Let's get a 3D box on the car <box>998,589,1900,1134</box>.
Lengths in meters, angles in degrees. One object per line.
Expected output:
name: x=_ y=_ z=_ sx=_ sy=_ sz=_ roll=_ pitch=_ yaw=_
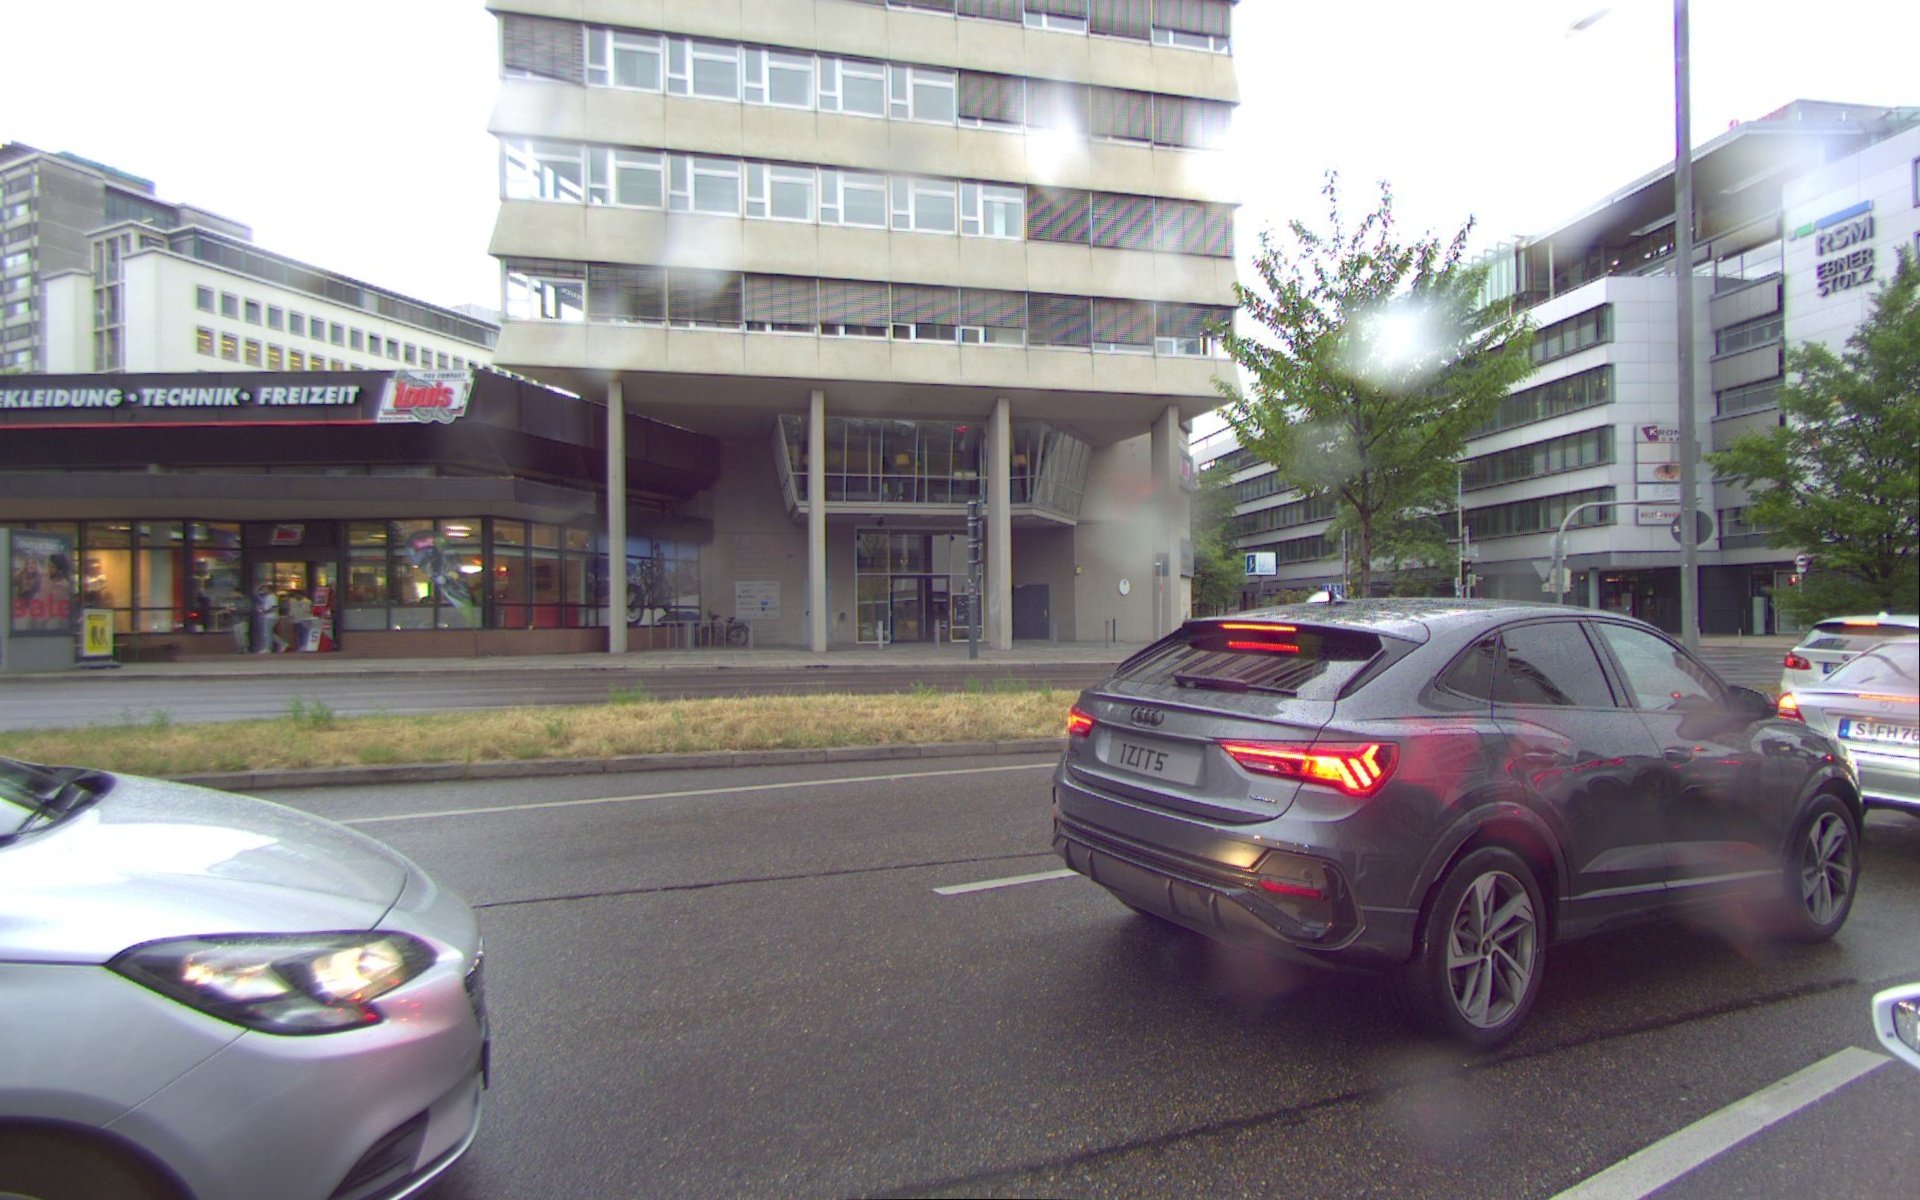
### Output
car: x=2.396 y=0.763 z=4.612 sx=4.220 sy=1.542 sz=1.640 roll=1 pitch=0 yaw=-30

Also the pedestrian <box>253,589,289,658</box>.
pedestrian: x=-18.064 y=0.613 z=26.331 sx=0.548 sy=1.767 sz=0.614 roll=1 pitch=0 yaw=-9

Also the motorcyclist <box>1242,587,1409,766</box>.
motorcyclist: x=3.060 y=0.607 z=8.423 sx=1.105 sy=1.398 sz=0.766 roll=2 pitch=0 yaw=-30

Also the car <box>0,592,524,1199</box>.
car: x=-2.902 y=0.701 z=1.651 sx=3.831 sy=1.455 sz=1.639 roll=1 pitch=0 yaw=-32

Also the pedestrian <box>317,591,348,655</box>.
pedestrian: x=-17.605 y=0.636 z=28.200 sx=0.548 sy=1.767 sz=0.541 roll=1 pitch=0 yaw=-9

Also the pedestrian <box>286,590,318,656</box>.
pedestrian: x=-17.877 y=0.623 z=27.297 sx=0.548 sy=1.767 sz=0.541 roll=1 pitch=0 yaw=-9

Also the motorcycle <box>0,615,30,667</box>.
motorcycle: x=-23.523 y=0.987 z=24.193 sx=0.353 sy=1.249 sz=1.669 roll=1 pitch=0 yaw=20

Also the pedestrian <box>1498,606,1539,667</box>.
pedestrian: x=16.040 y=1.042 z=28.849 sx=0.751 sy=1.706 sz=0.677 roll=1 pitch=0 yaw=-16

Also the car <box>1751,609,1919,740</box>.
car: x=12.639 y=0.933 z=13.213 sx=3.940 sy=1.506 sz=1.704 roll=2 pitch=0 yaw=-21

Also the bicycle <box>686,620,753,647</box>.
bicycle: x=-8.172 y=1.156 z=34.182 sx=2.165 sy=0.871 sz=0.456 roll=2 pitch=0 yaw=-31

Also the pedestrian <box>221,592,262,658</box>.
pedestrian: x=-18.081 y=0.632 z=25.282 sx=0.601 sy=1.633 sz=0.614 roll=1 pitch=0 yaw=-9

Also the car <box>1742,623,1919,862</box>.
car: x=7.641 y=0.935 z=7.068 sx=4.050 sy=1.426 sz=1.567 roll=2 pitch=0 yaw=-22
